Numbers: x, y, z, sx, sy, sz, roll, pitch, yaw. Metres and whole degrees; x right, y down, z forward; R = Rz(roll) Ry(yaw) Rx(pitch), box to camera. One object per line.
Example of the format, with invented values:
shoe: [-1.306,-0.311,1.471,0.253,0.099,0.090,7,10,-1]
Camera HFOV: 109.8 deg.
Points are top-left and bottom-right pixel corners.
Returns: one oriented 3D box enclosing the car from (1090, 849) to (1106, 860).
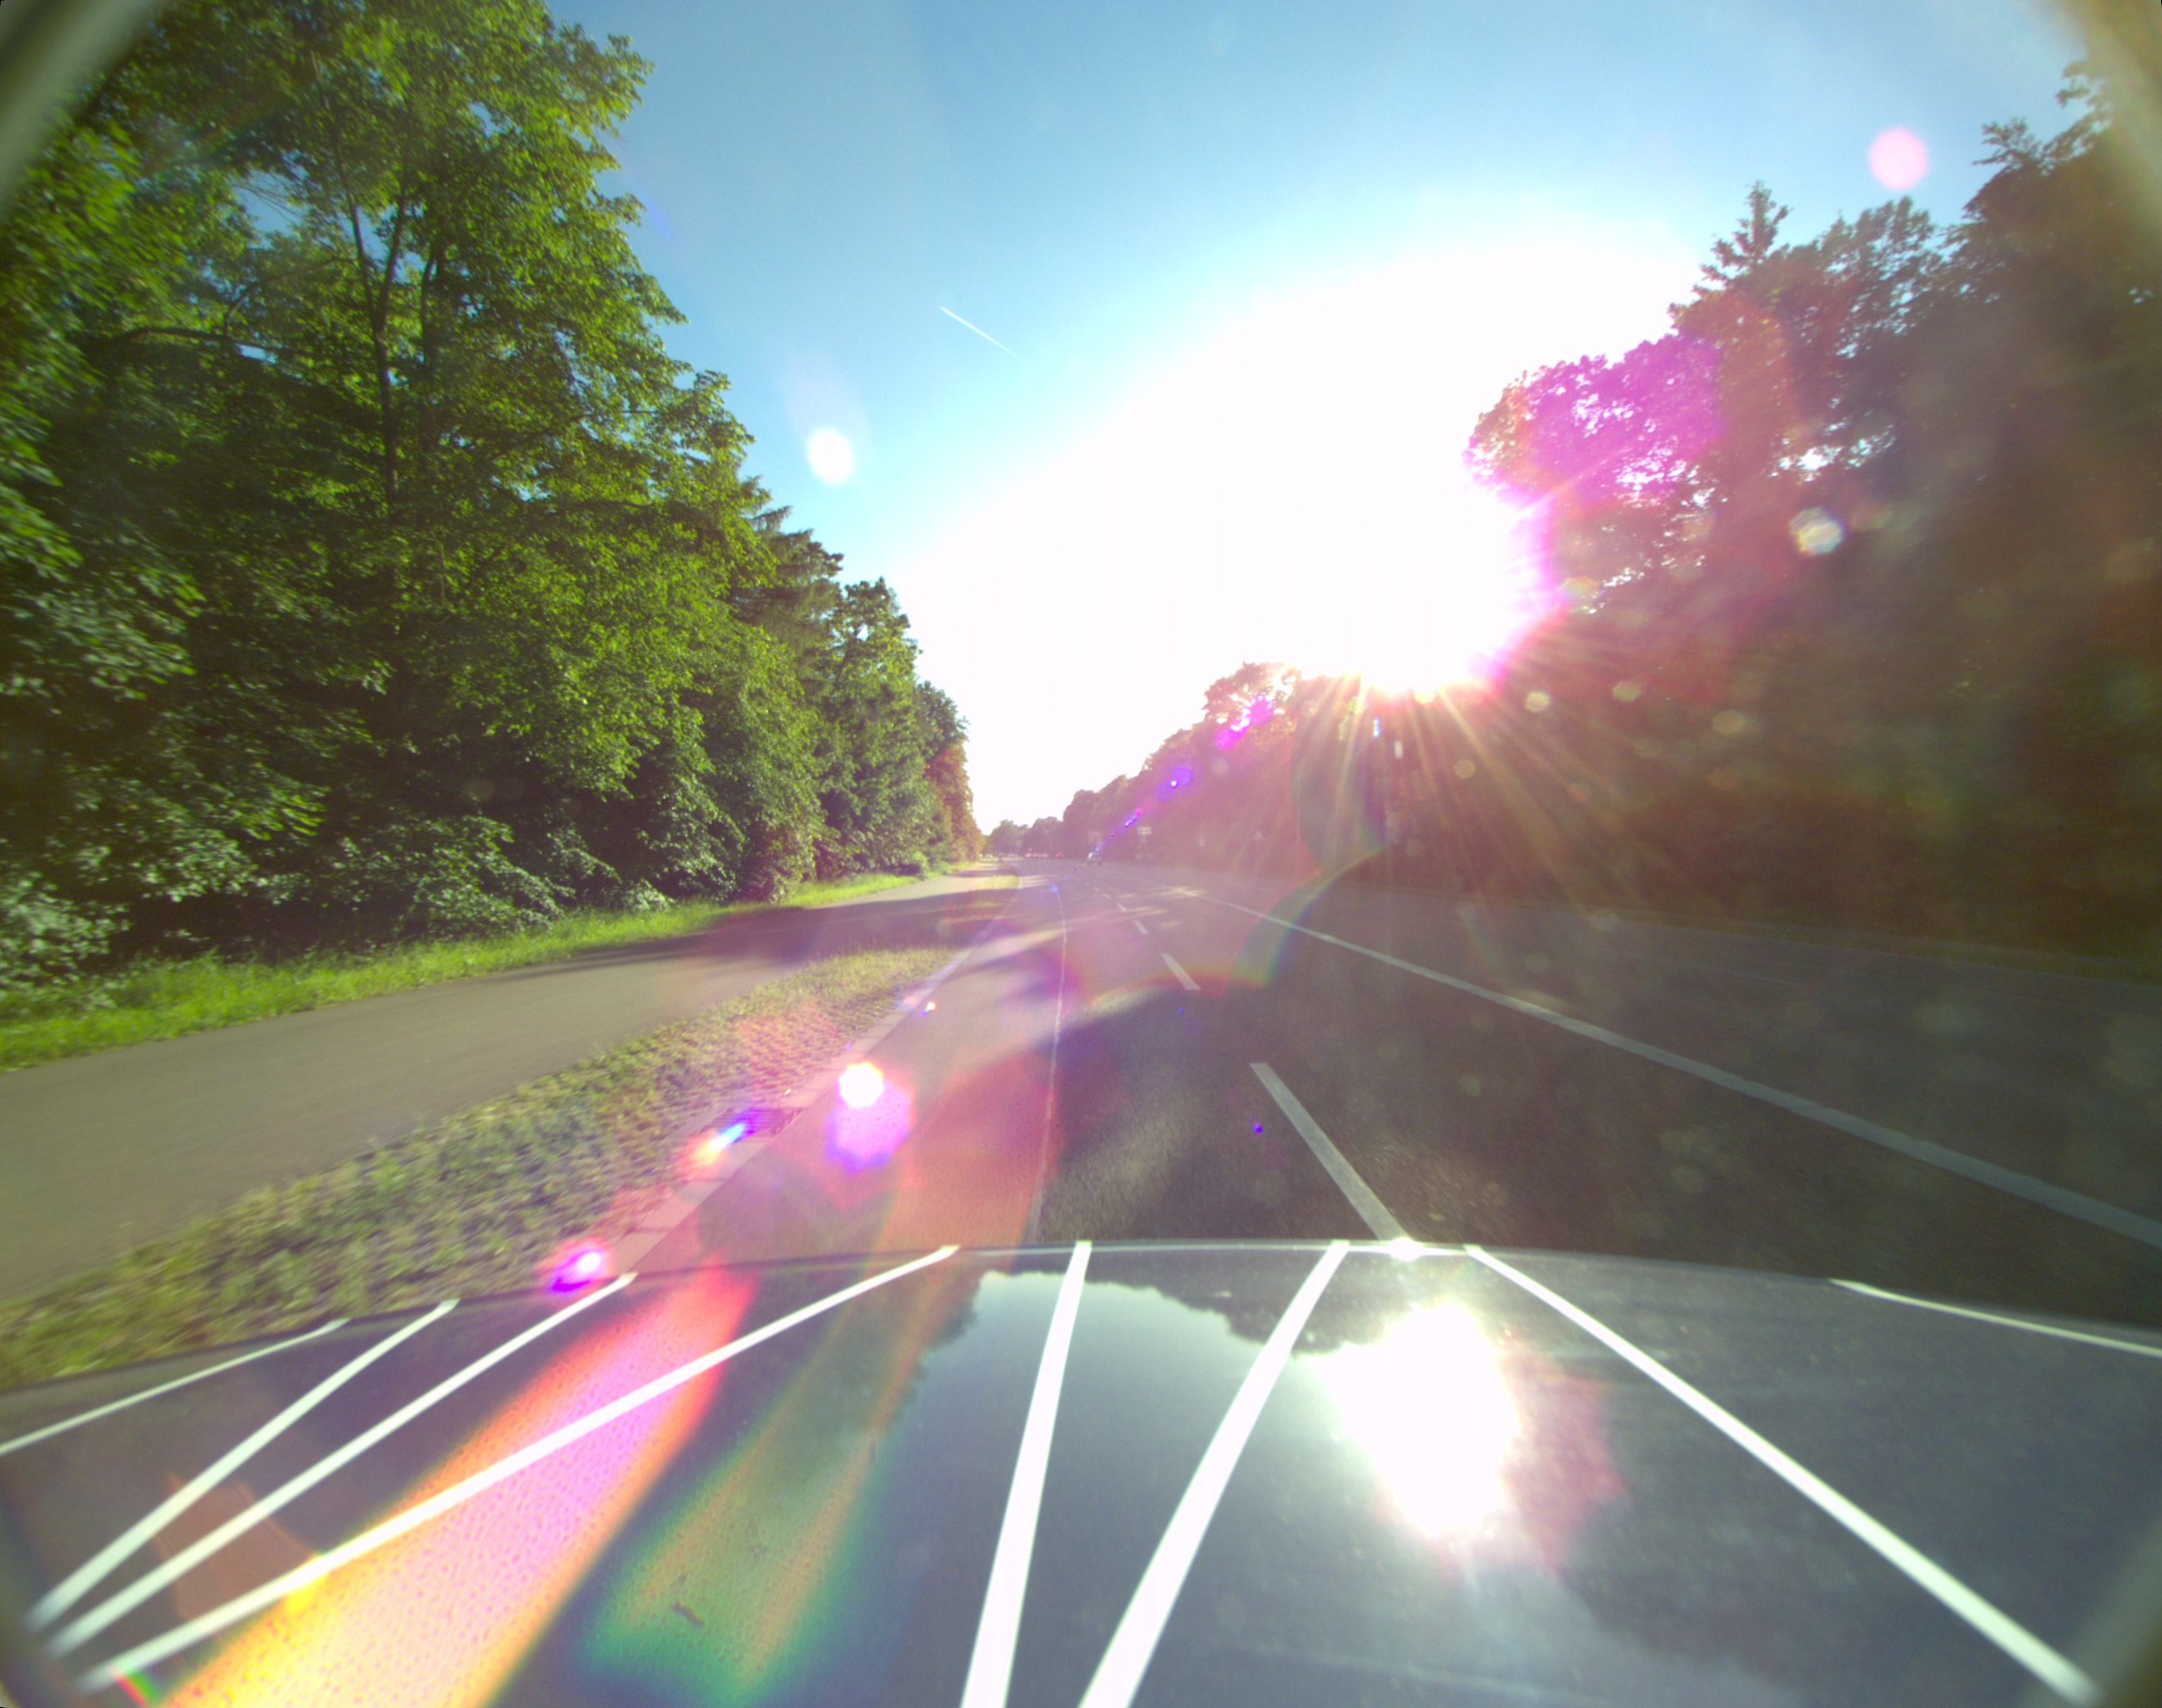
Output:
car: [2.353,0.039,105.746,1.744,1.449,3.996,-2,0,-6]
